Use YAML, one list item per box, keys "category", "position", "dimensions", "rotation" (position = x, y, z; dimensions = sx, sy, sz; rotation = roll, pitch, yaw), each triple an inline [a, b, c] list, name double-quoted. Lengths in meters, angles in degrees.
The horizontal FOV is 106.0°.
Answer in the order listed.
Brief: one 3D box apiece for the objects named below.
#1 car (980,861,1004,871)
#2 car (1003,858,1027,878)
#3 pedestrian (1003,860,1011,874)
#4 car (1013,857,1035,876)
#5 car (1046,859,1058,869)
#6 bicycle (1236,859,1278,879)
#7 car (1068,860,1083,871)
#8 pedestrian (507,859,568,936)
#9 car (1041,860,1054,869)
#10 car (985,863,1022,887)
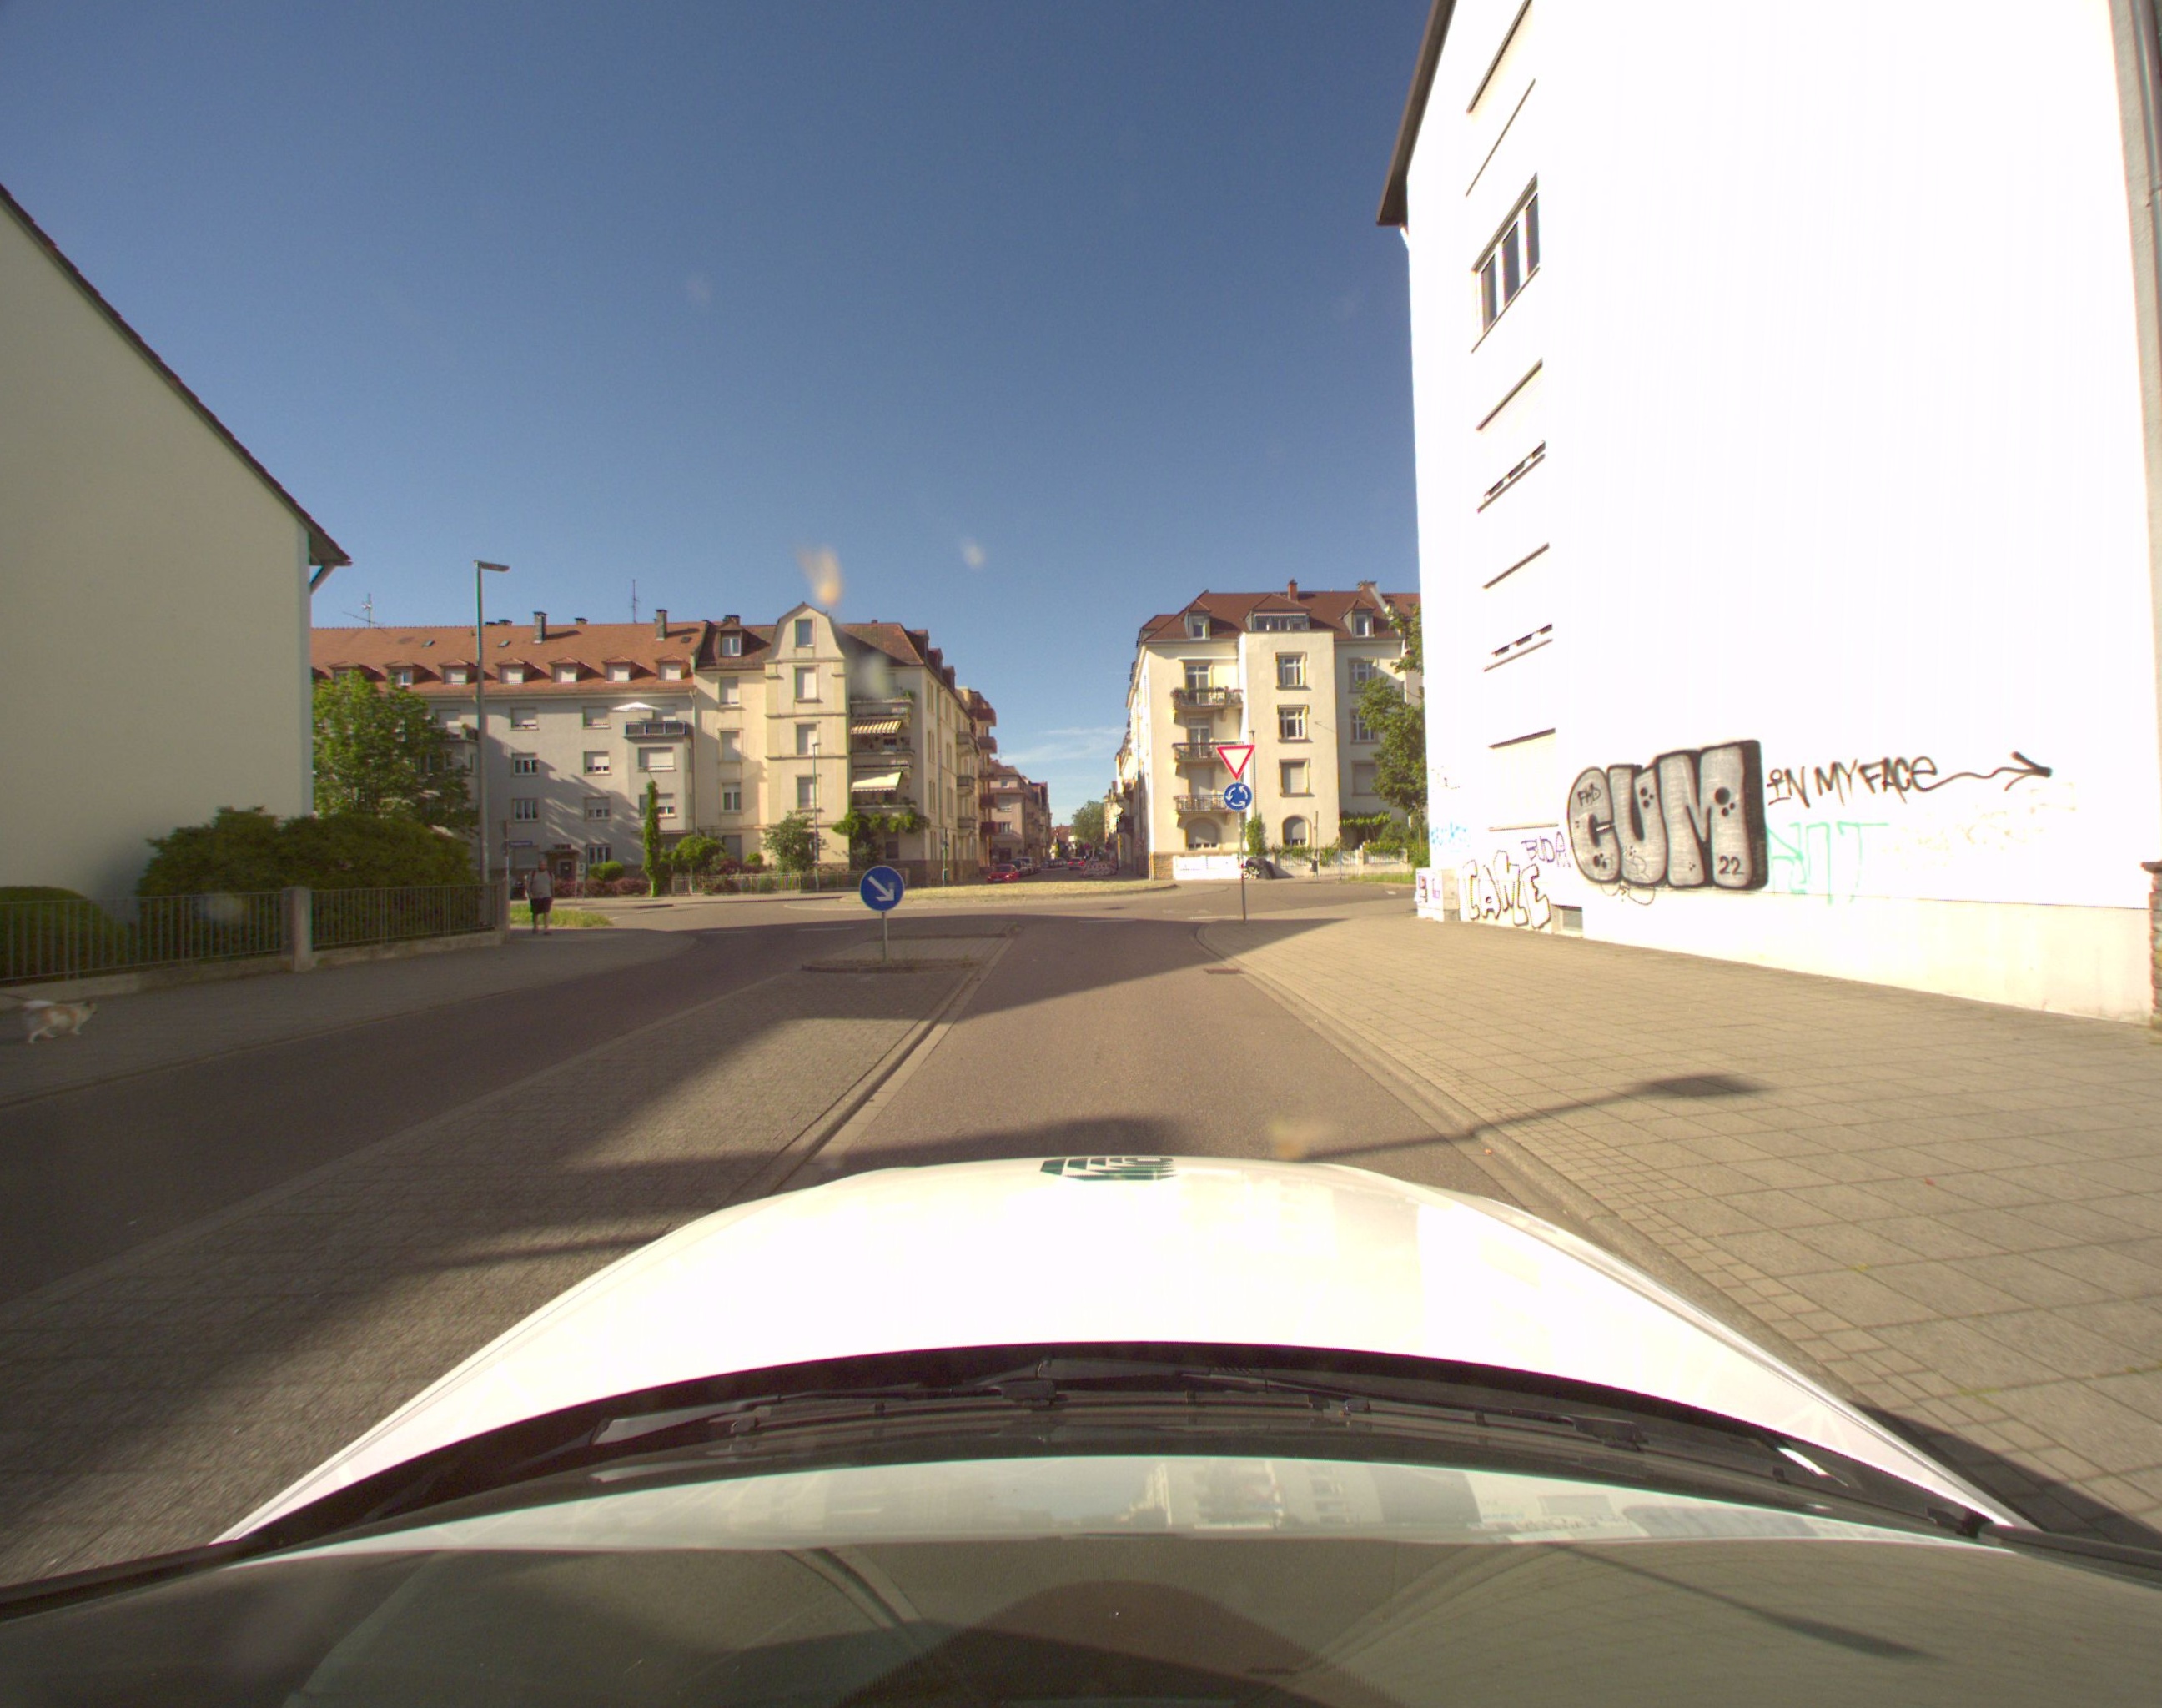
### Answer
- category: "car"
  position: [-13.152, 1.747, 120.493]
  dimensions: [1.714, 1.438, 3.488]
  rotation: [-1, 1, -43]
- category: "car"
  position: [-6.058, 1.234, 75.071]
  dimensions: [1.757, 1.771, 4.293]
  rotation: [-1, 0, 0]
- category: "pedestrian"
  position: [-9.769, 1.681, 107.643]
  dimensions: [0.921, 1.817, 0.993]
  rotation: [0, -1, -3]
- category: "car"
  position: [-5.964, 1.248, 85.858]
  dimensions: [1.969, 1.925, 5.309]
  rotation: [-1, 0, 0]
- category: "car"
  position: [-5.268, 1.837, 148.115]
  dimensions: [1.997, 1.619, 4.486]
  rotation: [1, -1, 0]
- category: "bicycle"
  position: [10.228, 0.876, 47.367]
  dimensions: [2.257, 1.157, 0.771]
  rotation: [-1, -1, 43]
- category: "car"
  position: [-0.680, 1.596, 110.756]
  dimensions: [1.832, 1.431, 4.029]
  rotation: [-3, -2, 1]
- category: "pedestrian"
  position: [-12.478, 0.975, 18.713]
  dimensions: [0.984, 1.706, 0.825]
  rotation: [-1, -1, 32]
- category: "car"
  position: [-5.290, 1.741, 130.463]
  dimensions: [1.673, 1.426, 4.276]
  rotation: [1, -1, 2]
- category: "car"
  position: [-5.242, 1.399, 55.625]
  dimensions: [1.703, 1.382, 4.006]
  rotation: [-3, 0, 5]
